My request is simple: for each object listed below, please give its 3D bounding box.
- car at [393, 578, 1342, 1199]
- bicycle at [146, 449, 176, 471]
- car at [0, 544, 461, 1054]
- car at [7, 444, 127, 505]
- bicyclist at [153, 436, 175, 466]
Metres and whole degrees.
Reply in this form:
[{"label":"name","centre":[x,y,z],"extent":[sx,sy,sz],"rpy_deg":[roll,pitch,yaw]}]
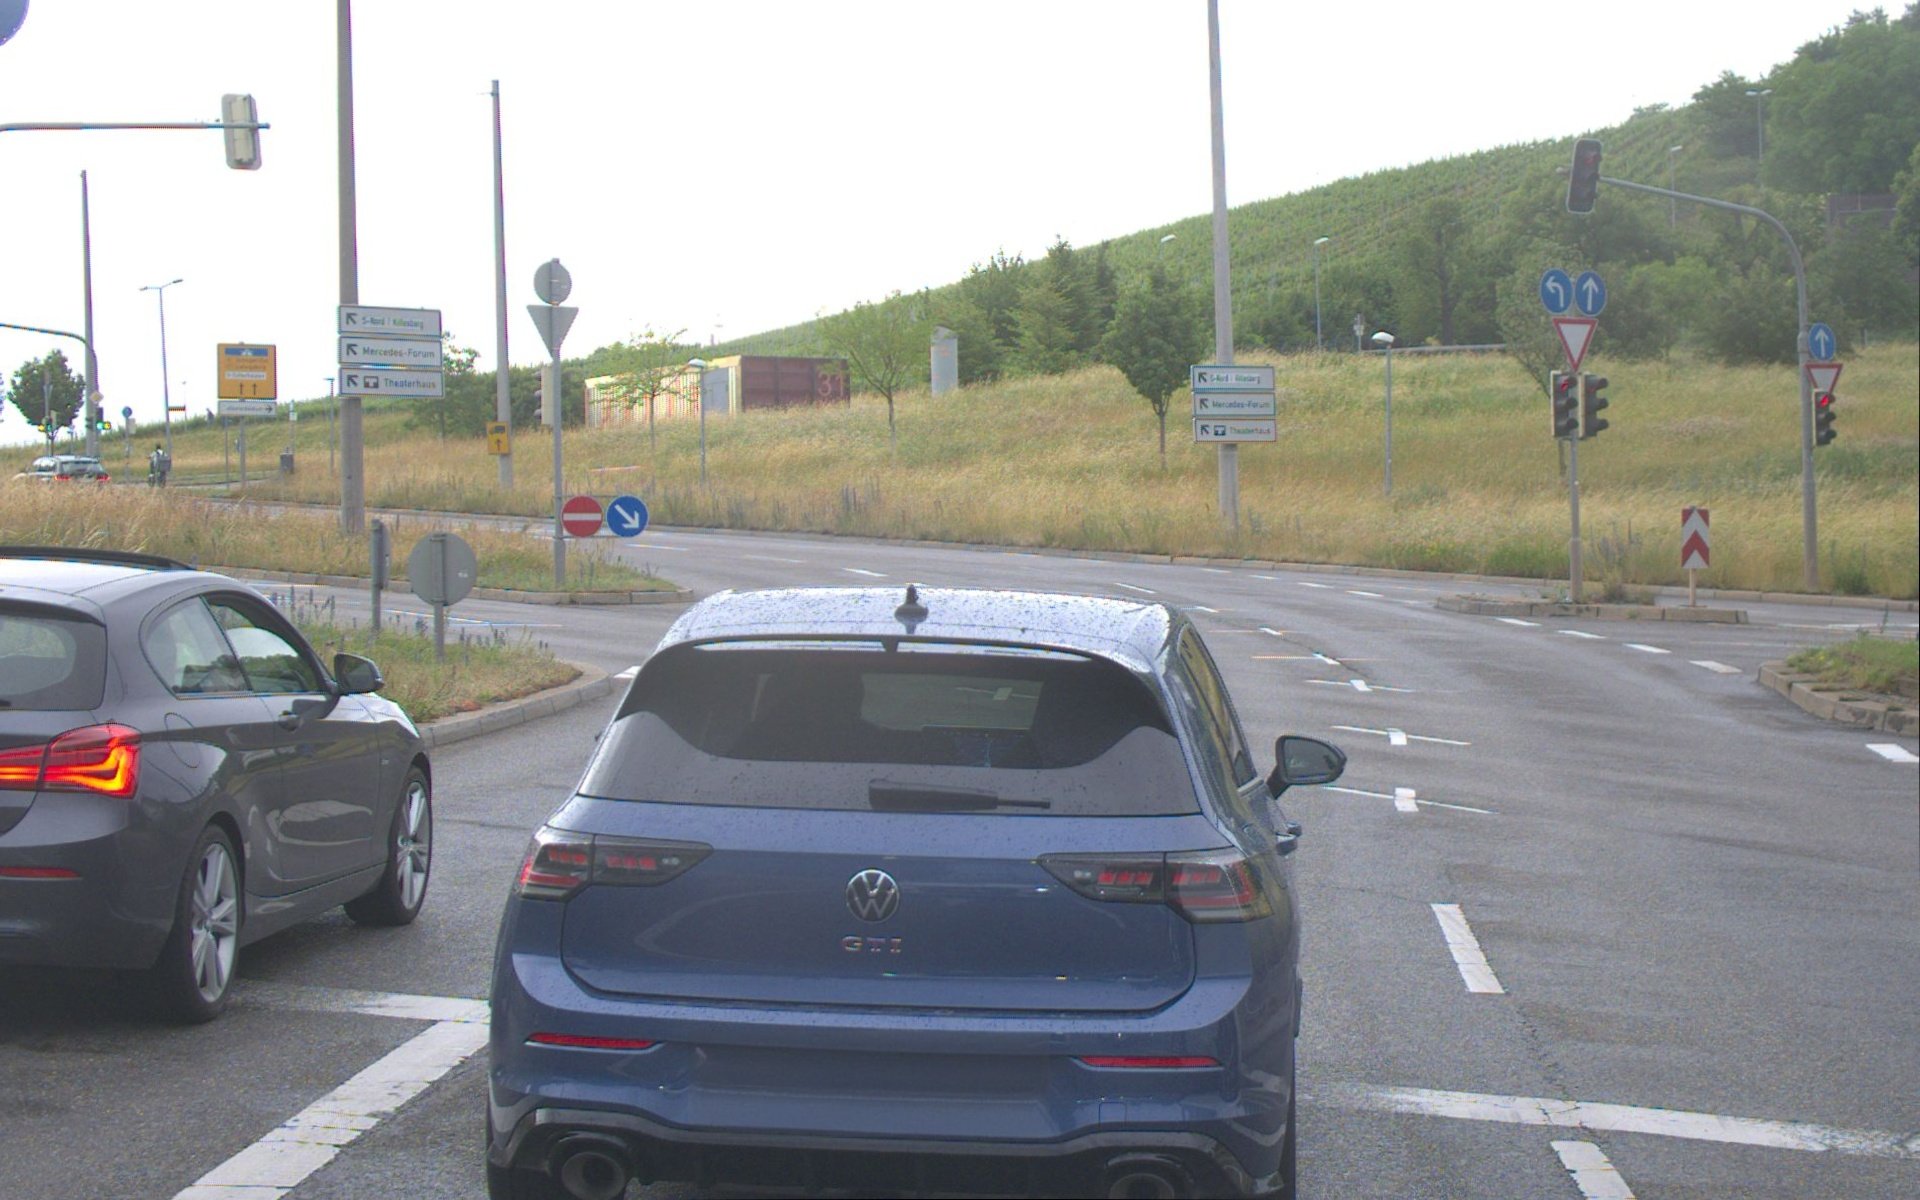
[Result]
[{"label":"car","centre":[-0.033,0.687,8.497],"extent":[1.825,1.455,3.808],"rpy_deg":[0,1,5]},{"label":"bicycle","centre":[-29.020,-5.088,124.819],"extent":[0.518,0.772,1.621],"rpy_deg":[1,1,-33]},{"label":"car","centre":[-3.050,0.536,11.934],"extent":[1.703,1.454,4.114],"rpy_deg":[0,1,5]},{"label":"car","centre":[-25.341,-3.555,97.461],"extent":[1.993,1.612,4.852],"rpy_deg":[1,1,-31]},{"label":"bicyclist","centre":[-28.858,-5.391,124.619],"extent":[0.523,1.043,0.580],"rpy_deg":[3,1,-34]}]
